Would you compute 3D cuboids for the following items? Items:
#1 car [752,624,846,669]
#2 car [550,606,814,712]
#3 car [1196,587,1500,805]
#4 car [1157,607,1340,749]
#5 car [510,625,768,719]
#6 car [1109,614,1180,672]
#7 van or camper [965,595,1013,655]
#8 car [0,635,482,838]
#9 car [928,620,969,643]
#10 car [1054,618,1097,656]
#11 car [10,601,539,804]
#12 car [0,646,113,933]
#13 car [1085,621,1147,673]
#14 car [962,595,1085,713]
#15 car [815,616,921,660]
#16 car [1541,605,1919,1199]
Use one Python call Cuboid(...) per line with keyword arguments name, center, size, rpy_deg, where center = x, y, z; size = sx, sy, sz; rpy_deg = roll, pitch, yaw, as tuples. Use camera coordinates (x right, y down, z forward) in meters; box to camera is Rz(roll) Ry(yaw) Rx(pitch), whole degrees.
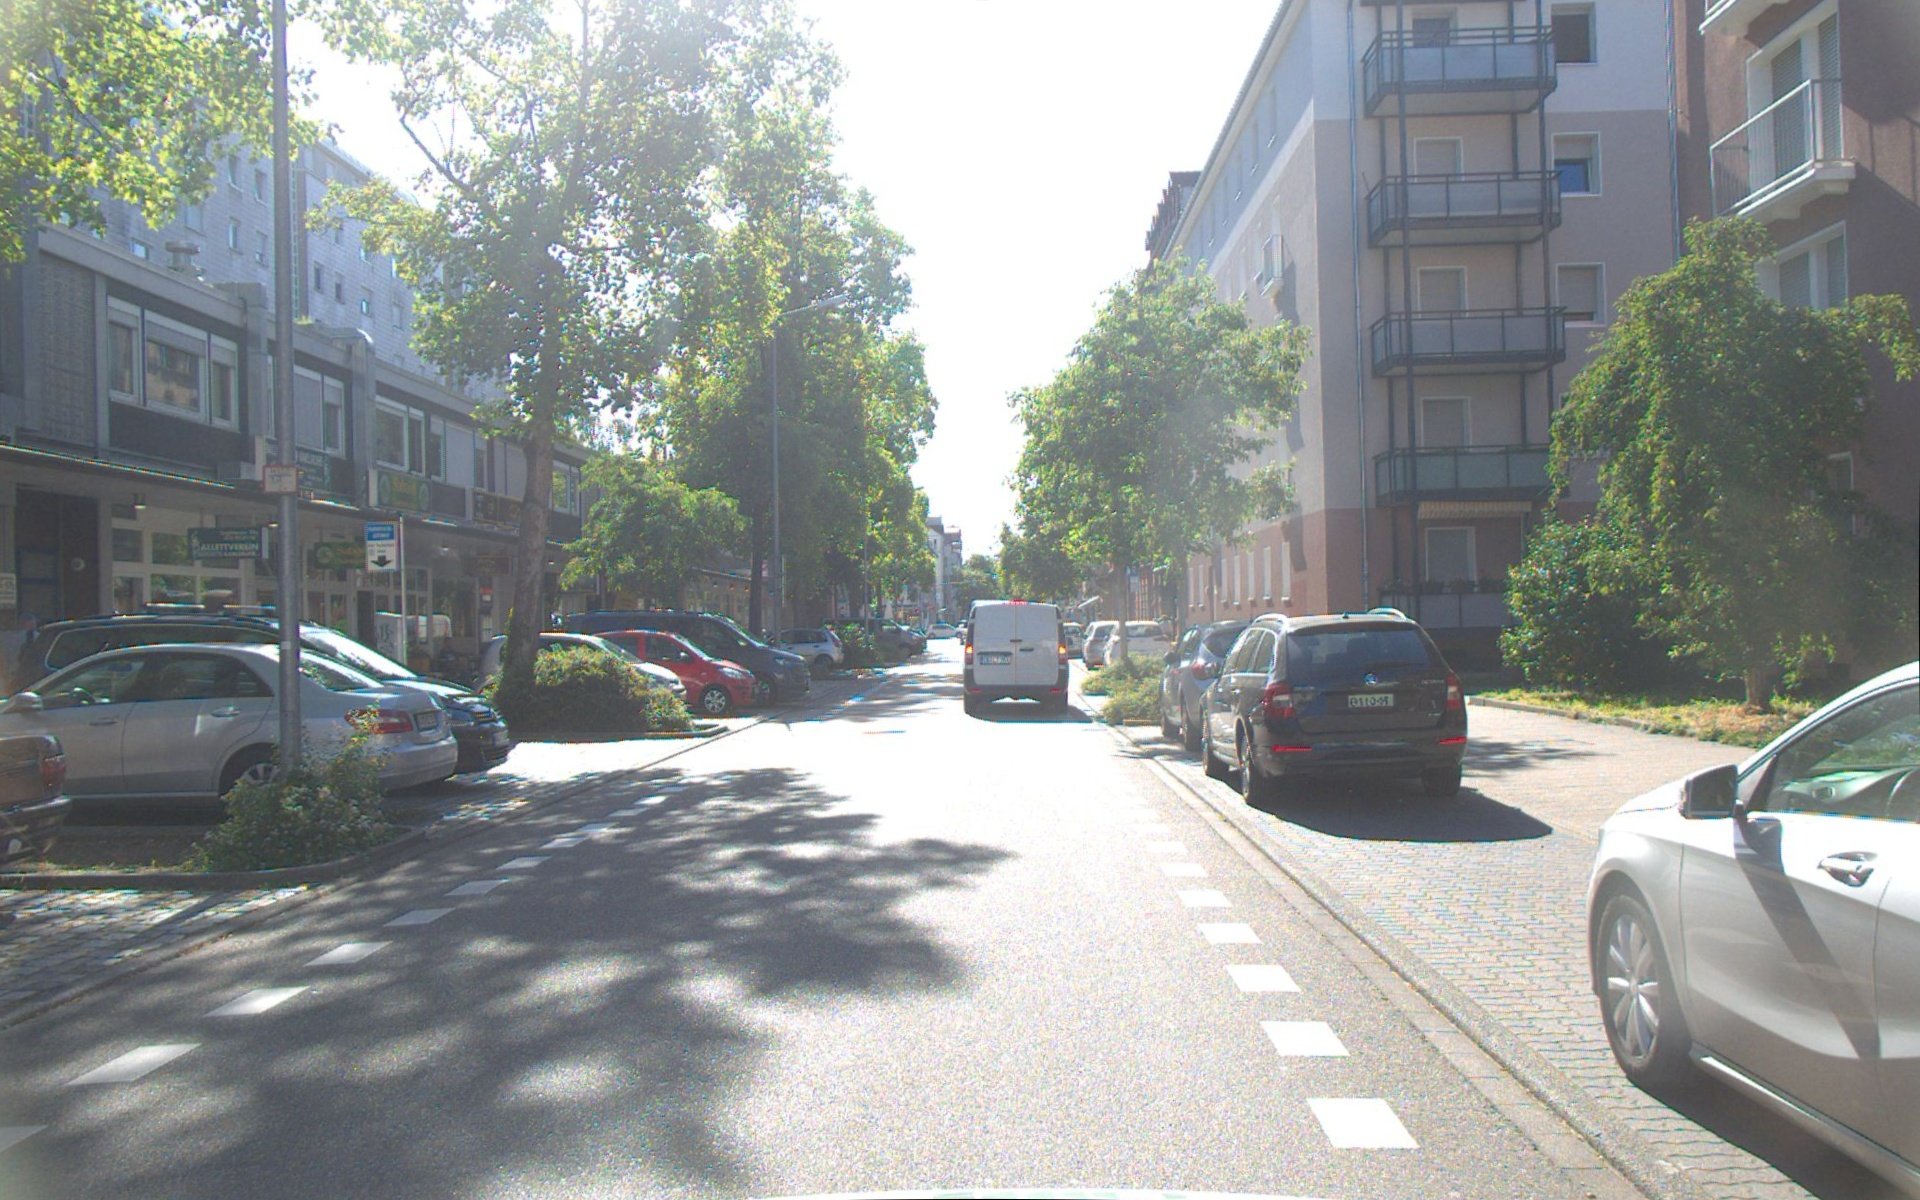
Cuboid(name="car", center=(-5.537, 1.592, 56.989), size=(3.035, 1.433, 1.661), rpy_deg=(-1, -1, 0))
Cuboid(name="car", center=(-5.650, 1.193, 34.019), size=(5.105, 2.016, 1.661), rpy_deg=(-1, -1, 0))
Cuboid(name="car", center=(3.177, 0.742, 14.408), size=(1.746, 1.546, 4.309), rpy_deg=(-2, -1, 2))
Cuboid(name="car", center=(3.486, 0.908, 20.602), size=(1.704, 1.546, 3.859), rpy_deg=(-2, -1, 2))
Cuboid(name="car", center=(-6.035, 1.347, 31.390), size=(4.531, 1.639, 1.661), rpy_deg=(-1, -2, 0))
Cuboid(name="car", center=(5.241, 1.201, 47.299), size=(1.704, 1.546, 3.859), rpy_deg=(-2, -1, 2))
Cuboid(name="van or camper", center=(1.344, 1.116, 74.068), size=(1.952, 2.519, 5.821), rpy_deg=(-2, -1, 2))
Cuboid(name="car", center=(-6.621, 1.117, 14.026), size=(4.560, 1.520, 1.828), rpy_deg=(-1, -1, 0))
Cuboid(name="car", center=(-1.110, 3.014, 159.732), size=(3.907, 2.049, 1.999), rpy_deg=(-2, -1, -3))
Cuboid(name="car", center=(4.923, 1.569, 70.887), size=(1.704, 1.546, 3.859), rpy_deg=(-2, -1, 2))
Cuboid(name="car", center=(-6.764, 0.990, 16.664), size=(4.531, 1.836, 1.837), rpy_deg=(-1, -1, 0))
Cuboid(name="car", center=(-7.102, 1.037, 9.137), size=(3.947, 1.520, 1.717), rpy_deg=(0, -1, 0))
Cuboid(name="car", center=(4.926, 1.470, 52.668), size=(1.704, 1.546, 3.859), rpy_deg=(-2, -1, 2))
Cuboid(name="car", center=(1.134, 0.944, 30.850), size=(2.057, 1.941, 5.425), rpy_deg=(-2, -1, 1))
Cuboid(name="car", center=(-4.517, 1.866, 81.894), size=(5.105, 2.016, 1.661), rpy_deg=(-1, -1, 0))
Cuboid(name="car", center=(2.947, 0.743, 3.946), size=(1.704, 1.479, 4.156), rpy_deg=(-2, -1, 1))
